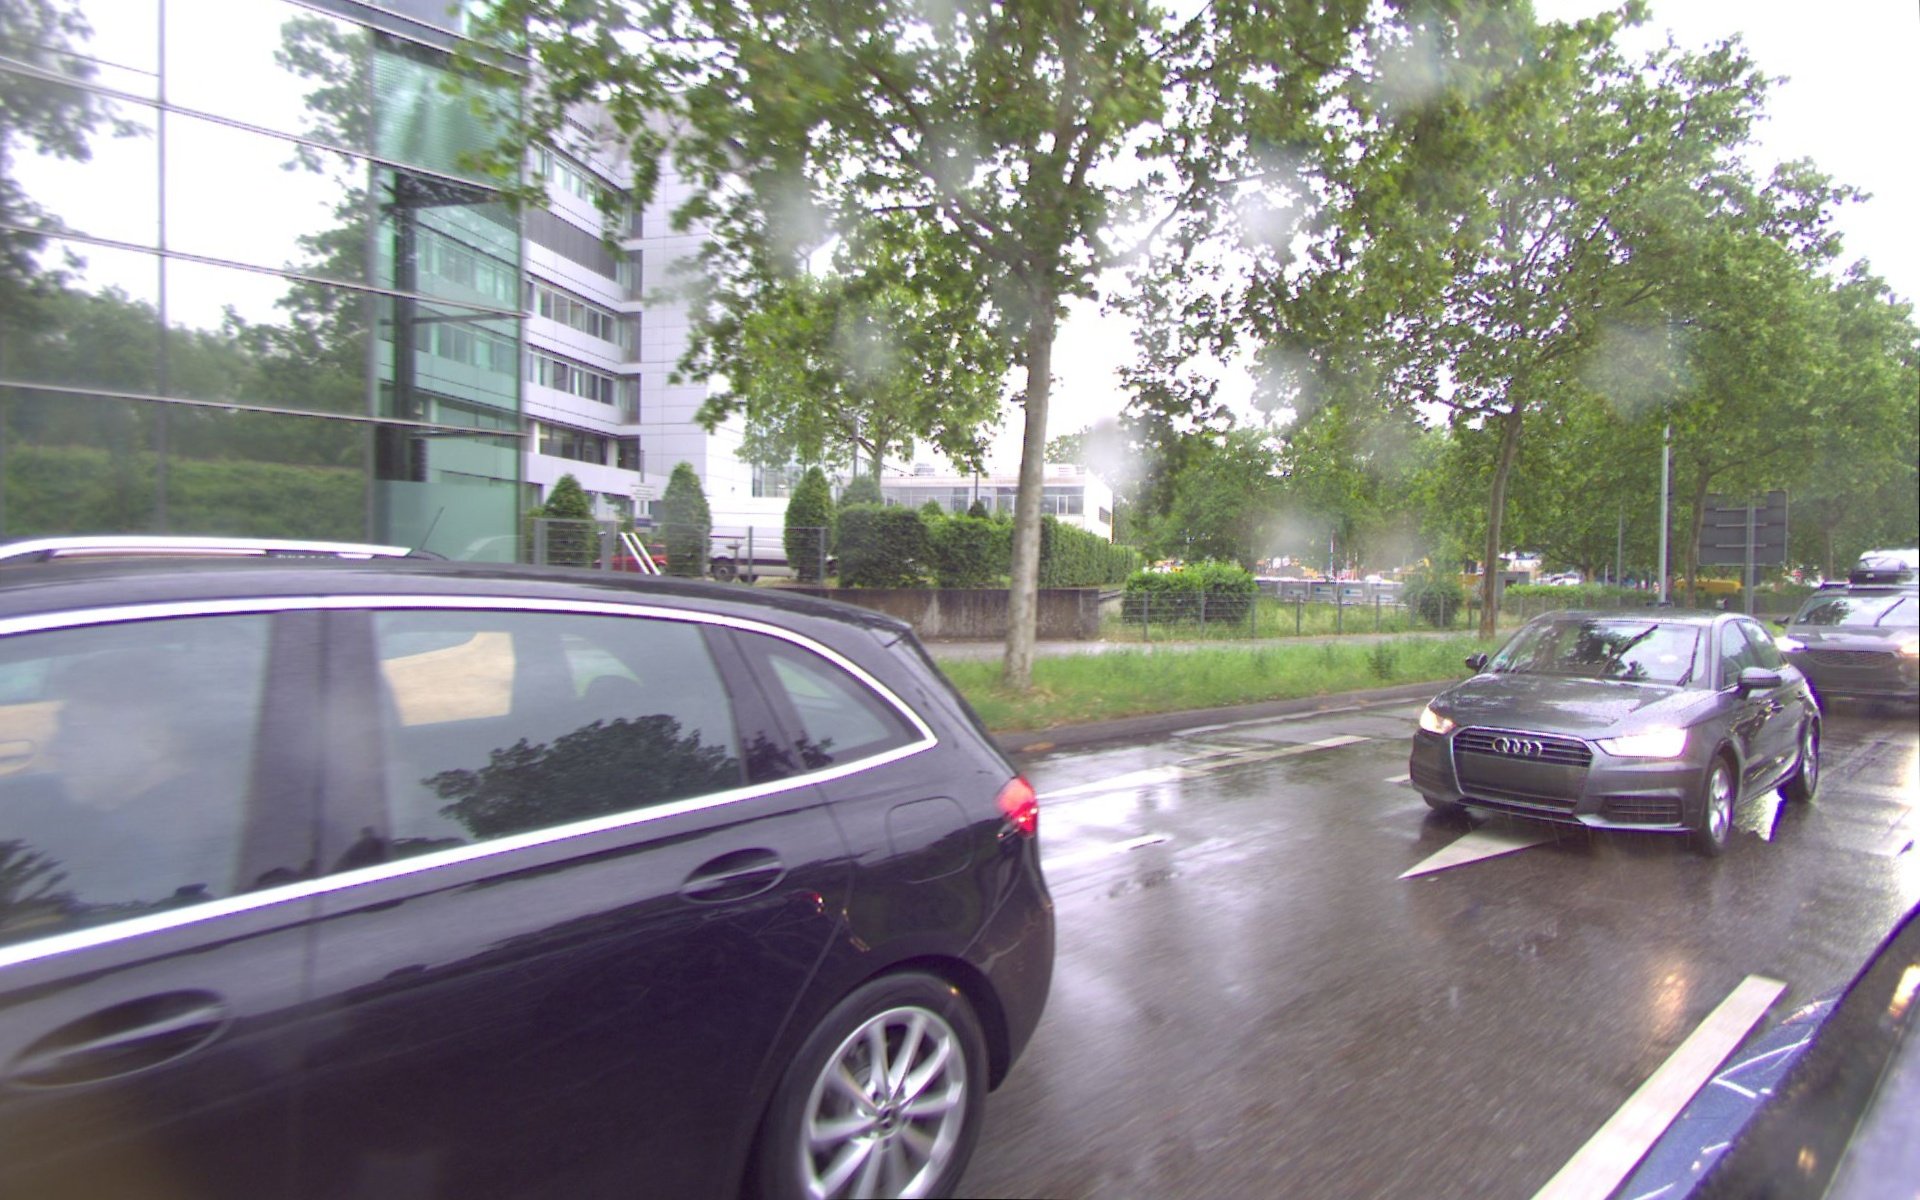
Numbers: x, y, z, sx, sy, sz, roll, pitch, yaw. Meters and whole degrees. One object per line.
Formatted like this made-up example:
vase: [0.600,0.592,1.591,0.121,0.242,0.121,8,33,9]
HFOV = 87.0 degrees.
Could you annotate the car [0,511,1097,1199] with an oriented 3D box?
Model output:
car: [-1.776,0.634,1.843,4.018,1.542,1.873,-1,2,-42]

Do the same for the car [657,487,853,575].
car: [-6.267,-2.052,31.100,5.610,2.487,1.992,0,0,13]

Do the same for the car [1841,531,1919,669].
car: [19.023,-0.021,19.785,4.891,2.460,1.997,0,2,-41]

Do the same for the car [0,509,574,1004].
car: [-3.927,0.479,3.987,4.095,1.652,1.905,0,2,-40]

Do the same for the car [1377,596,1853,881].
car: [4.679,0.692,7.049,3.688,1.415,1.839,-1,1,-41]

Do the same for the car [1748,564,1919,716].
car: [12.546,0.441,13.814,4.252,1.769,1.998,-1,2,-41]
